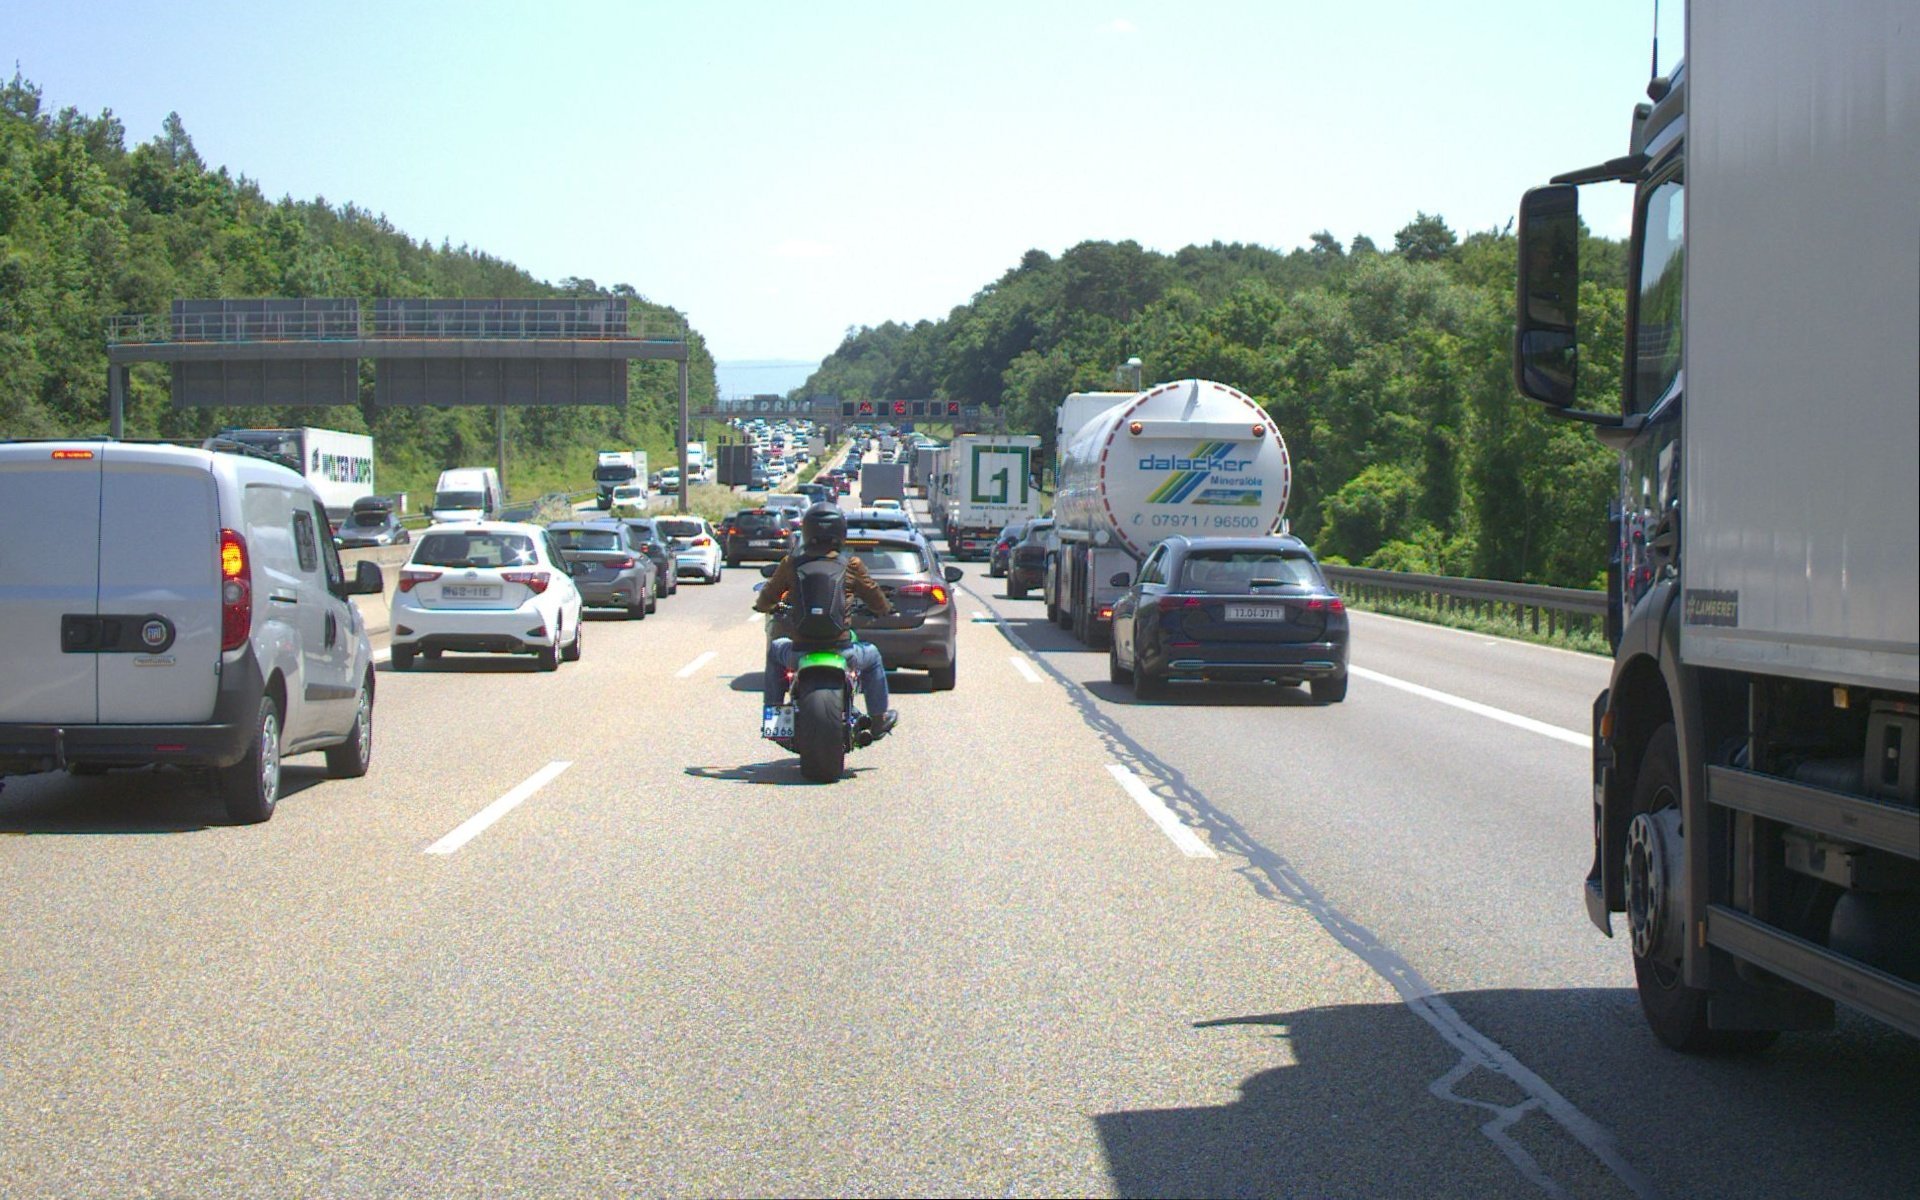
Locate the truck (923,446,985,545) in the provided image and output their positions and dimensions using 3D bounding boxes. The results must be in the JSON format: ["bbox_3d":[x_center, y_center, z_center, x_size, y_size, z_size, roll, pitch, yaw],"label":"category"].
[{"bbox_3d":[-0.346,-5.554,183.701,3.033,5.121,9.983,1,1,-1],"label":"truck"}]

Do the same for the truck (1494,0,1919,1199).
[{"bbox_3d":[3.231,-0.673,6.555,2.688,3.863,9.781,-3,1,-1],"label":"truck"}]

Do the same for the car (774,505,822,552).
[{"bbox_3d":[-7.353,-3.229,156.427,1.993,2.007,4.000,-2,1,-1],"label":"car"}]

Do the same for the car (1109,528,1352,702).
[{"bbox_3d":[2.411,0.089,31.574,1.828,1.465,4.000,1,1,-1],"label":"car"}]

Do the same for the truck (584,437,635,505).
[{"bbox_3d":[-24.824,-9.083,244.011,2.765,4.724,10.473,0,1,-1],"label":"truck"}]

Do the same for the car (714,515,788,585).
[{"bbox_3d":[-6.332,-1.509,104.569,1.993,2.007,4.000,-2,1,0],"label":"car"}]

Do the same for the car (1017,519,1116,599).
[{"bbox_3d":[2.101,-0.846,68.704,1.787,1.550,3.804,0,1,-1],"label":"car"}]

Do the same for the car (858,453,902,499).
[{"bbox_3d":[-4.576,-7.068,196.911,2.504,2.578,5.017,0,1,-1],"label":"car"}]

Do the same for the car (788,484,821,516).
[{"bbox_3d":[-9.740,-6.275,215.741,1.993,2.007,4.000,0,1,-1],"label":"car"}]

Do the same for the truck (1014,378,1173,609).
[{"bbox_3d":[2.105,-1.667,55.598,1.993,3.510,4.752,-2,1,-3],"label":"truck"}]

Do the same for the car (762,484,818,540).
[{"bbox_3d":[-6.539,-3.377,132.722,1.929,2.007,4.000,-2,1,0],"label":"car"}]

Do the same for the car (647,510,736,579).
[{"bbox_3d":[-5.861,-1.235,75.422,1.699,1.473,4.000,0,1,-1],"label":"car"}]

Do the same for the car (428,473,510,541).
[{"bbox_3d":[-17.475,-3.317,122.560,1.993,2.369,7.365,0,1,-1],"label":"car"}]

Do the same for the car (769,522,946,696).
[{"bbox_3d":[-0.978,0.040,32.780,1.532,1.504,4.000,-2,1,-2],"label":"car"}]

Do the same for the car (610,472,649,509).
[{"bbox_3d":[-19.617,-6.489,204.282,1.879,2.007,4.469,-3,1,-1],"label":"car"}]

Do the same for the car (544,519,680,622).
[{"bbox_3d":[-5.182,-0.476,51.553,1.699,1.473,4.000,0,1,-1],"label":"car"}]

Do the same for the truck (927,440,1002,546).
[{"bbox_3d":[0.156,-4.747,153.172,3.033,4.527,9.983,1,1,-1],"label":"truck"}]

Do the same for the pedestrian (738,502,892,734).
[{"bbox_3d":[-0.876,0.098,21.031,0.849,1.357,0.961,-2,1,0],"label":"pedestrian"}]

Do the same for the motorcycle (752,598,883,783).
[{"bbox_3d":[-0.842,0.519,20.806,0.691,1.012,2.121,1,1,0],"label":"motorcycle"}]

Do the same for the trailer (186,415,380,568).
[{"bbox_3d":[-21.627,-3.351,110.820,3.724,4.512,13.332,-2,1,-1],"label":"trailer"}]

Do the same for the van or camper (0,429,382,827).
[{"bbox_3d":[-4.303,0.112,18.430,1.796,1.886,4.160,0,1,-1],"label":"van or camper"}]

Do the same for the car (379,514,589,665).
[{"bbox_3d":[-4.903,-0.153,35.864,1.699,1.473,4.000,0,1,-1],"label":"car"}]

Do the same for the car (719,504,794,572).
[{"bbox_3d":[-5.615,-1.731,95.287,1.880,1.853,4.000,0,1,-1],"label":"car"}]

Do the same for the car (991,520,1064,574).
[{"bbox_3d":[1.768,-1.420,91.055,1.787,1.370,3.804,0,1,-1],"label":"car"}]

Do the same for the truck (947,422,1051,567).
[{"bbox_3d":[1.214,-3.474,113.763,3.033,4.527,9.983,1,1,-1],"label":"truck"}]

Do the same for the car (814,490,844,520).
[{"bbox_3d":[-8.938,-6.459,234.994,1.993,2.007,4.000,0,1,-1],"label":"car"}]

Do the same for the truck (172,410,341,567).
[{"bbox_3d":[-21.550,-3.340,105.723,3.724,4.512,7.327,-2,1,-2],"label":"truck"}]

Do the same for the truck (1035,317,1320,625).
[{"bbox_3d":[2.768,-1.626,46.690,2.988,3.659,9.288,-2,1,-1],"label":"truck"}]
